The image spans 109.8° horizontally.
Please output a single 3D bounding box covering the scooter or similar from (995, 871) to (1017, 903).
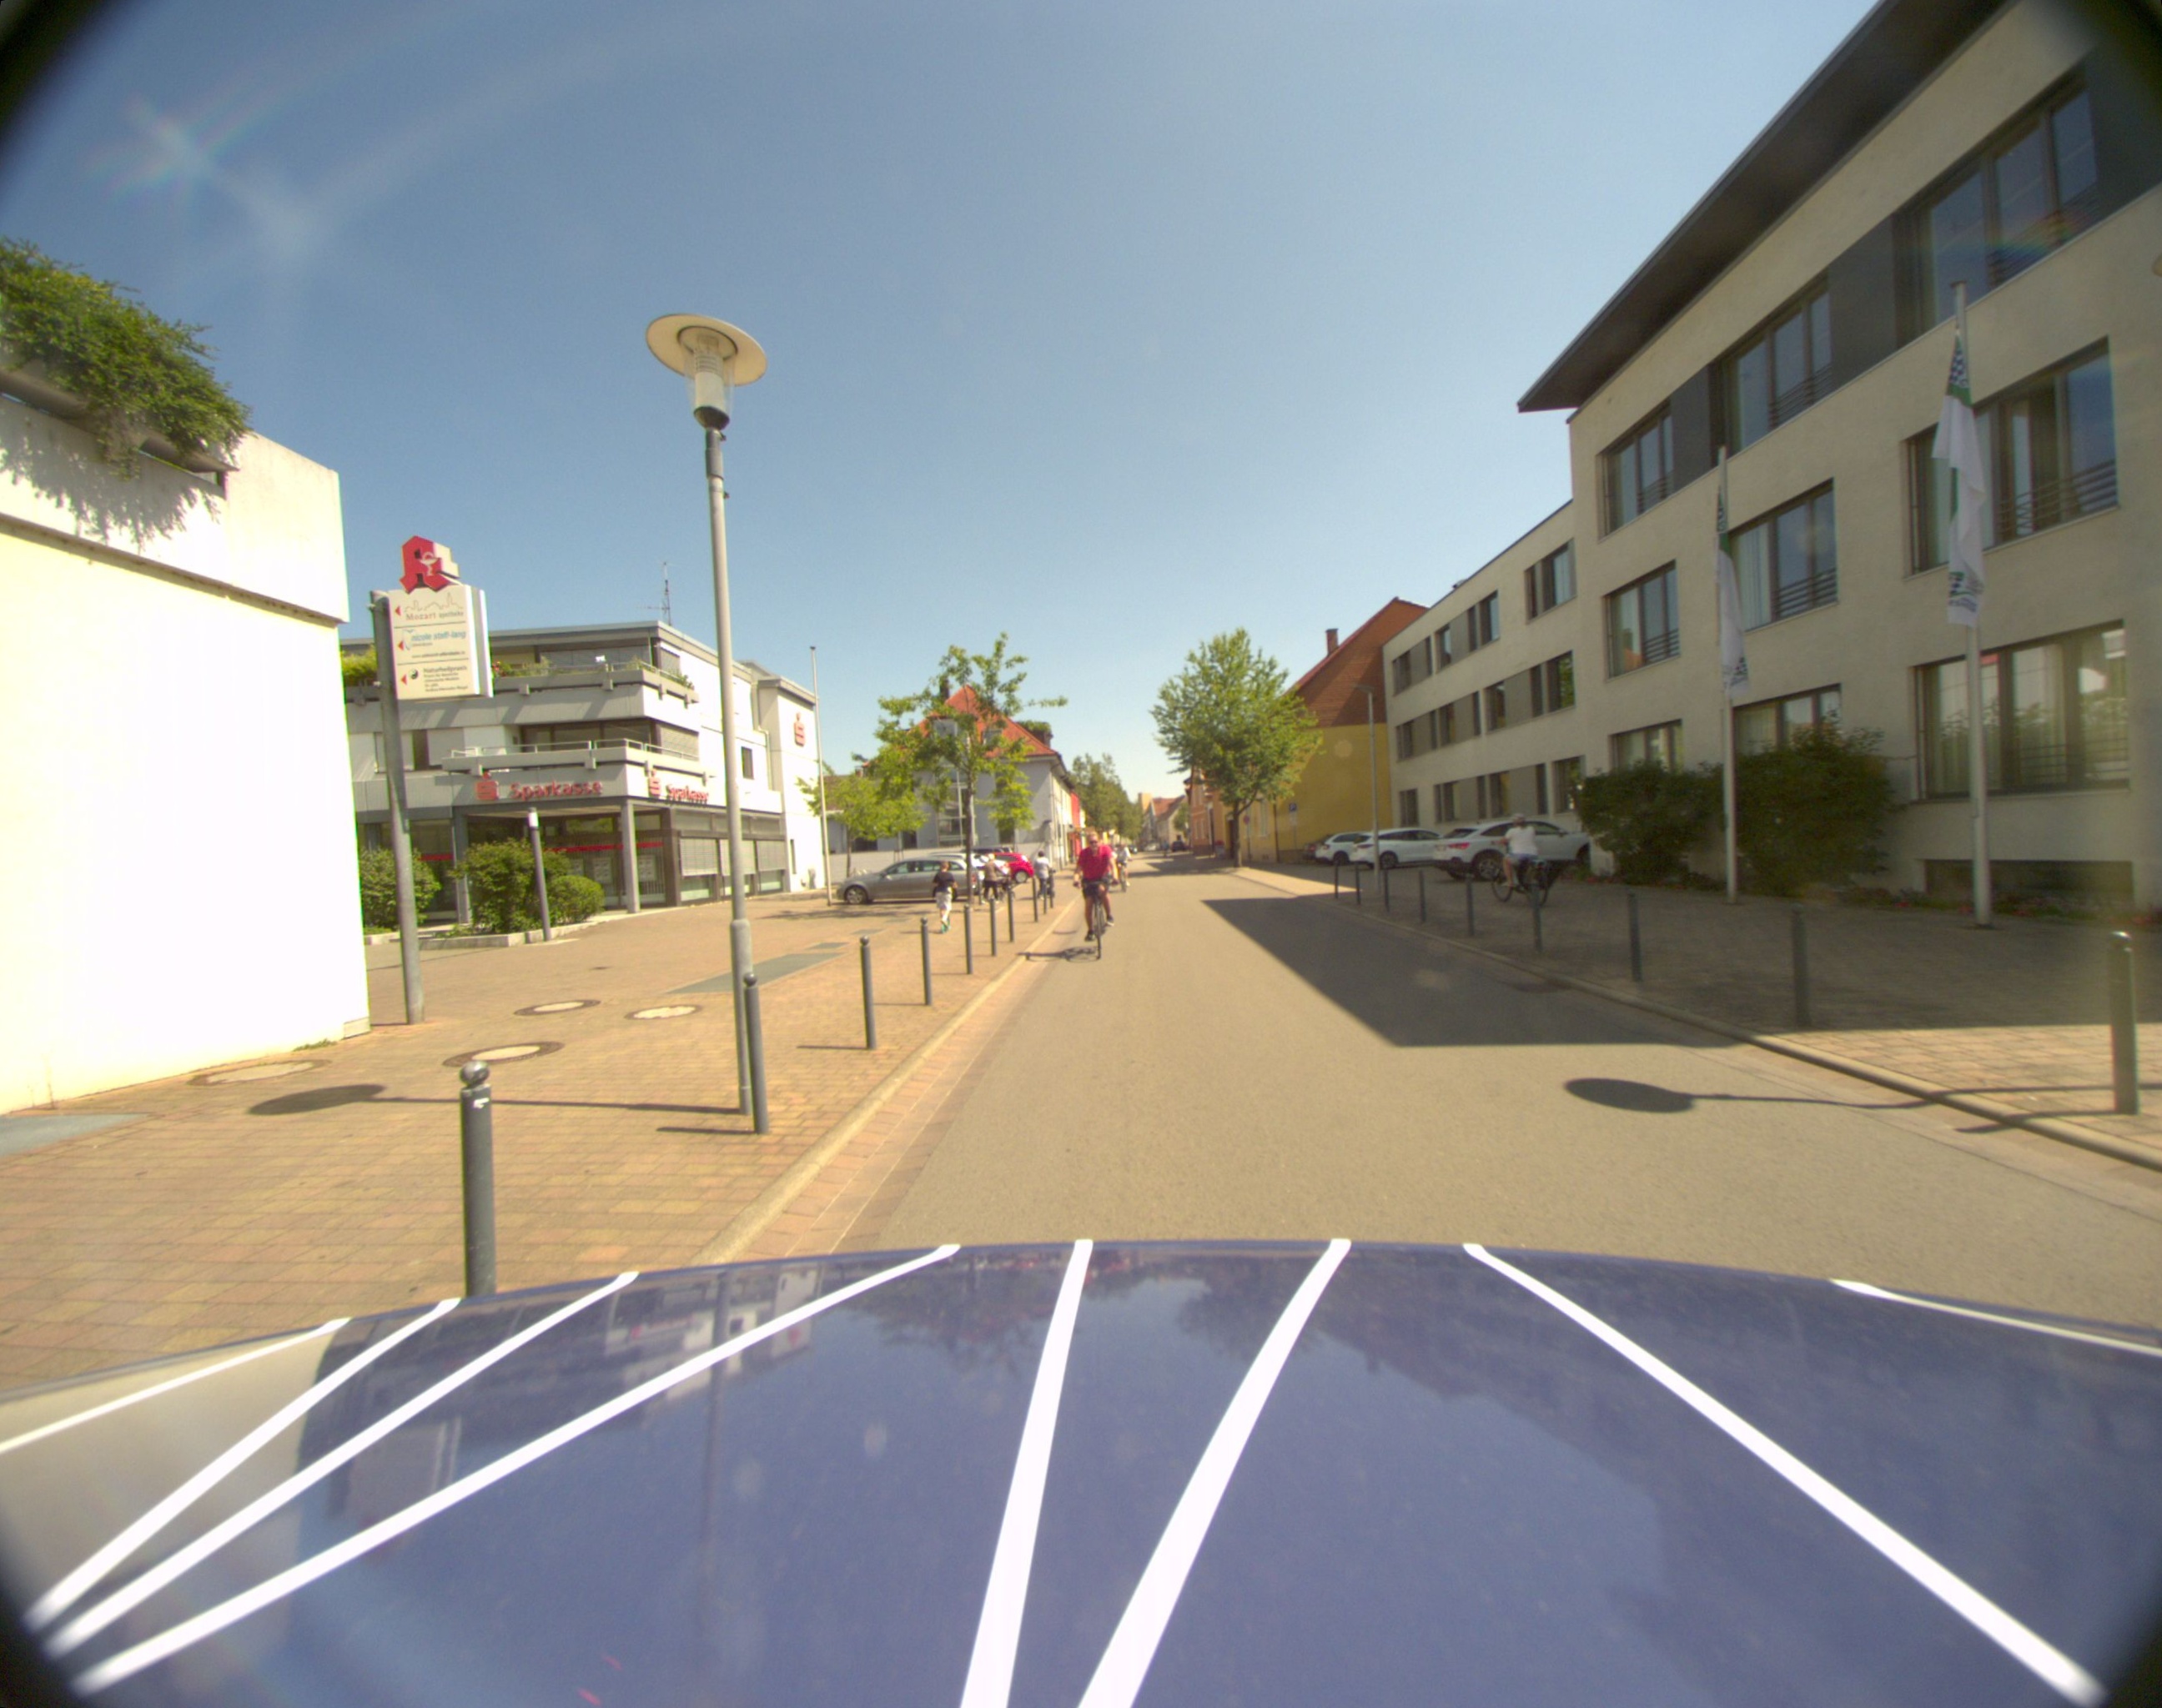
[{"bbox_3d":[-2.323,1.031,23.565,0.535,0.940,0.547,-3,1,6],"label":"scooter or similar"}]

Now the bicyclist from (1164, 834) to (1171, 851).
[{"bbox_3d":[8.261,-1.095,72.796,0.538,1.630,0.551,-3,1,2],"label":"bicyclist"}]

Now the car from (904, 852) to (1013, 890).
[{"bbox_3d":[-5.176,0.715,32.610,4.445,1.434,1.655,-2,1,-4],"label":"car"}]

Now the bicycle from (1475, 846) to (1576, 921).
[{"bbox_3d":[8.169,0.496,14.082,0.710,1.245,1.972,-3,1,1],"label":"bicycle"}]

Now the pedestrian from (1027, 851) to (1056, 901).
[{"bbox_3d":[-1.215,0.681,23.689,0.512,1.507,1.049,-1,1,17],"label":"pedestrian"}]

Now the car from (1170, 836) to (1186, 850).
[{"bbox_3d":[13.573,-1.560,106.428,1.825,1.805,4.000,-3,1,3],"label":"car"}]

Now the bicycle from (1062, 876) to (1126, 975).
[{"bbox_3d":[0.181,1.000,11.312,0.738,1.183,1.970,-7,1,0],"label":"bicycle"}]

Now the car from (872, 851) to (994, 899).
[{"bbox_3d":[-5.230,0.720,27.317,4.045,1.551,1.712,-2,1,-3],"label":"car"}]

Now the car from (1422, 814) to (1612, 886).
[{"bbox_3d":[11.592,-0.105,20.390,3.996,1.539,1.749,-4,1,2],"label":"car"}]

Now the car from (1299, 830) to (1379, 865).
[{"bbox_3d":[12.215,-0.319,36.053,3.257,1.393,1.374,-4,1,2],"label":"car"}]

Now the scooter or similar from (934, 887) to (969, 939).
[{"bbox_3d":[-2.603,1.180,15.366,0.411,0.959,0.960,-3,0,6],"label":"scooter or similar"}]

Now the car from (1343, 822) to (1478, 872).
[{"bbox_3d":[12.350,-0.274,28.624,4.323,1.470,1.513,-5,1,4],"label":"car"}]

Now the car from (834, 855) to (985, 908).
[{"bbox_3d":[-5.415,0.848,24.457,4.444,1.457,1.690,-2,2,-2],"label":"car"}]

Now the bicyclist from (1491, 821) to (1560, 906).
[{"bbox_3d":[8.160,0.163,13.980,0.716,1.498,0.871,-3,1,1],"label":"bicyclist"}]

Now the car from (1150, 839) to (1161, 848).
[{"bbox_3d":[15.077,-2.133,154.751,1.998,1.696,4.000,-3,1,3],"label":"car"}]

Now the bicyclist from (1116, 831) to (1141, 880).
[{"bbox_3d":[1.595,0.045,25.612,0.703,1.573,0.878,-4,2,1],"label":"bicyclist"}]

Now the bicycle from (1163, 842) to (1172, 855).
[{"bbox_3d":[8.289,-0.579,72.821,0.594,1.183,1.725,-3,1,2],"label":"bicycle"}]

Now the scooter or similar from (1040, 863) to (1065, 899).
[{"bbox_3d":[-0.920,0.862,24.626,0.505,1.112,0.910,-2,1,16],"label":"scooter or similar"}]

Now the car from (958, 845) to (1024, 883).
[{"bbox_3d":[-4.401,0.461,37.244,3.040,1.727,1.344,-2,1,-2],"label":"car"}]

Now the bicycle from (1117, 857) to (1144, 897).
[{"bbox_3d":[1.642,0.741,25.577,0.689,1.183,1.799,-6,1,0],"label":"bicycle"}]

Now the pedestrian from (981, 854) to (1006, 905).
[{"bbox_3d":[-2.646,0.770,22.959,0.531,1.492,0.724,-3,1,5],"label":"pedestrian"}]

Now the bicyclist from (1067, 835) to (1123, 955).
[{"bbox_3d":[0.208,0.590,11.493,0.703,1.707,0.759,-4,2,1],"label":"bicyclist"}]

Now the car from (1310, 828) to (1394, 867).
[{"bbox_3d":[12.030,-0.293,33.850,3.138,1.442,1.643,-4,1,4],"label":"car"}]

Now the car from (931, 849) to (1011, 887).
[{"bbox_3d":[-5.057,0.616,35.142,3.430,1.543,1.490,-3,1,-1],"label":"car"}]

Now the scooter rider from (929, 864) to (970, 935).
[{"bbox_3d":[-2.640,0.895,15.325,0.462,1.317,1.133,-3,1,5],"label":"scooter rider"}]

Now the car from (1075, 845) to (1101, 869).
[{"bbox_3d":[0.403,0.182,49.857,1.530,1.444,3.520,-3,1,-1],"label":"car"}]
